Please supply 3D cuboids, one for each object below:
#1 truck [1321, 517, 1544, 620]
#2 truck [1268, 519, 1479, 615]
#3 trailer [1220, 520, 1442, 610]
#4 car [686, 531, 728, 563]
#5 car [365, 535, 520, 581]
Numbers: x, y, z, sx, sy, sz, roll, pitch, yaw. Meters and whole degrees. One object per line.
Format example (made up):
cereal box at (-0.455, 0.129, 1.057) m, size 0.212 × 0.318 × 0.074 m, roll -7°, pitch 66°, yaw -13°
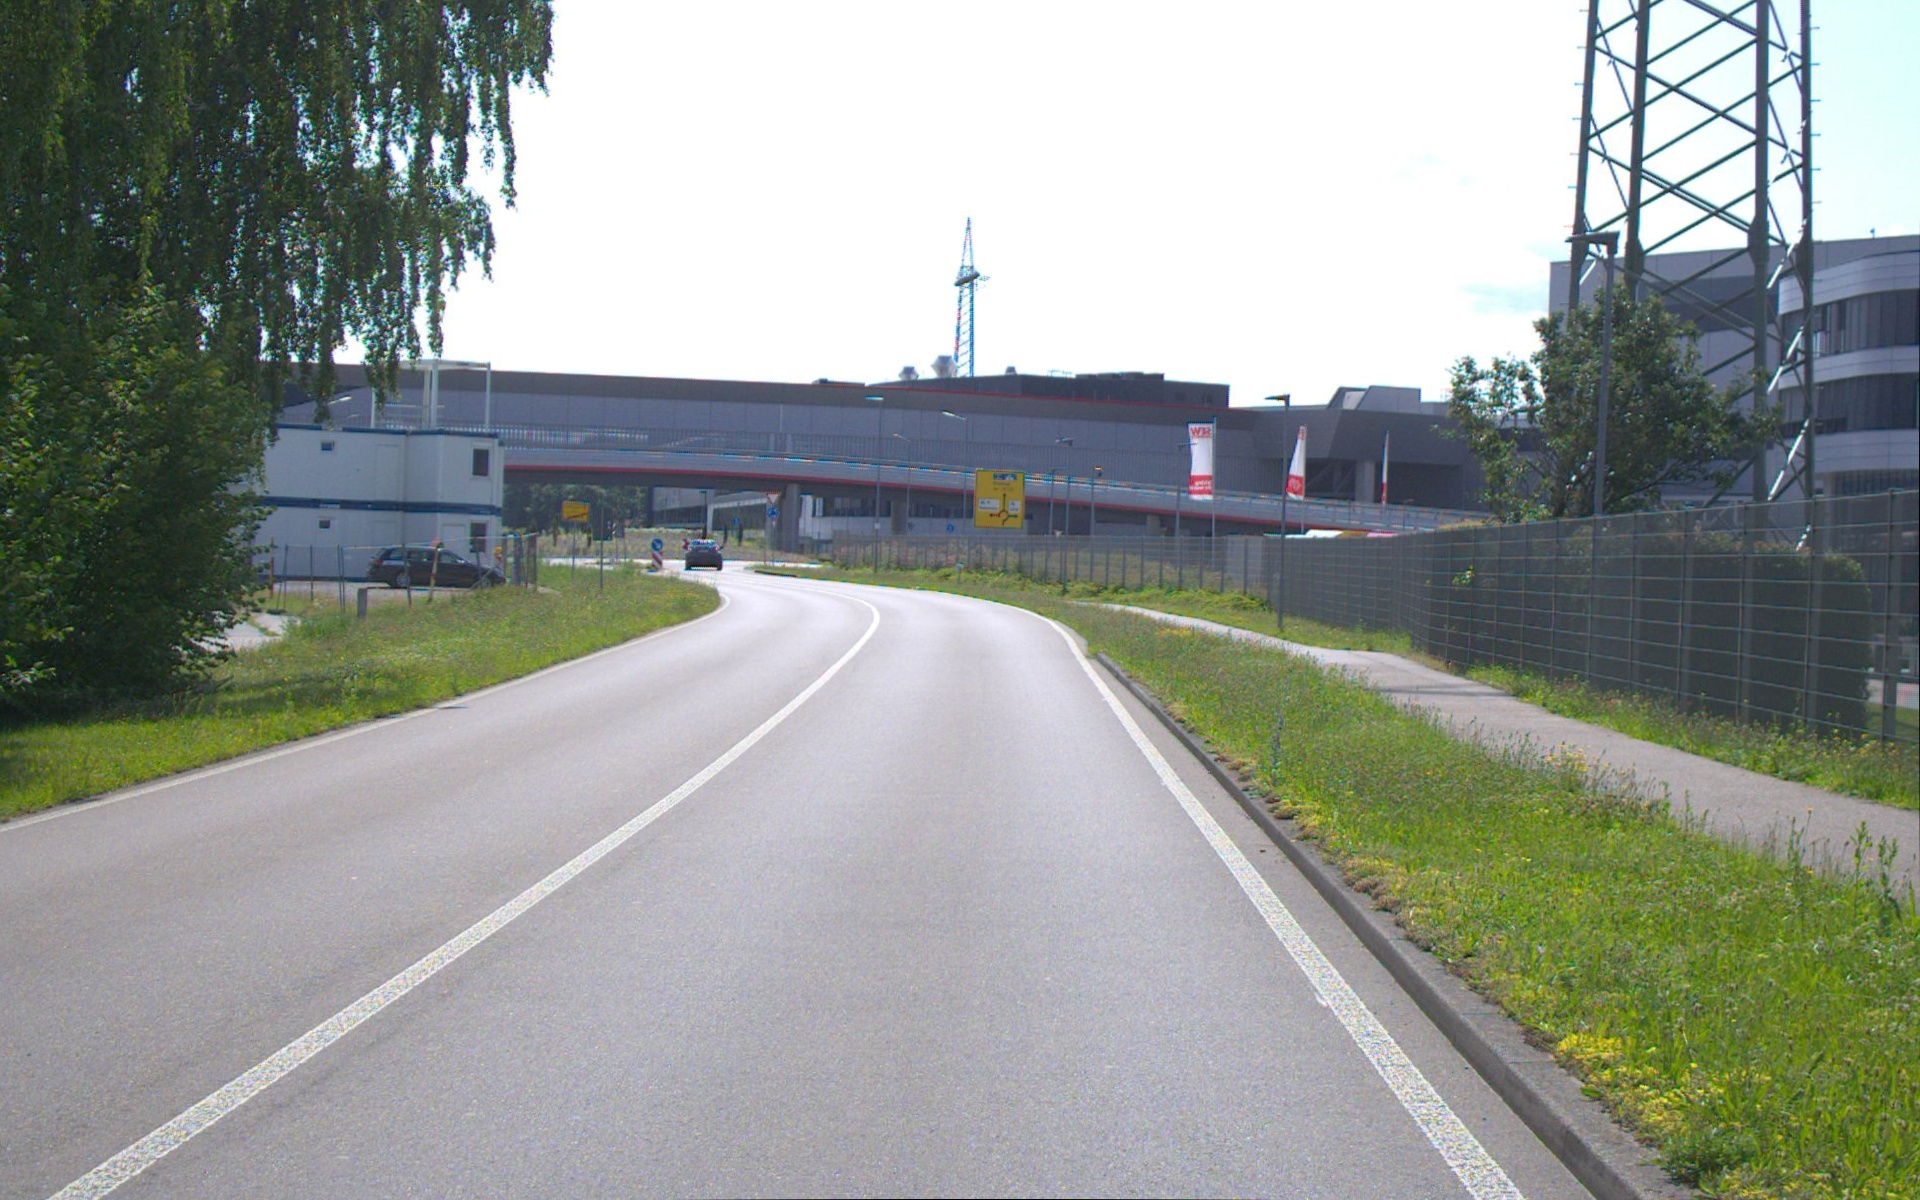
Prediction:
truck at (20.106, -1.291, 145.694) m, size 10.943 × 4.242 × 3.027 m, roll 0°, pitch 1°, yaw -42°
truck at (18.679, -1.443, 154.743) m, size 10.943 × 4.158 × 2.821 m, roll 0°, pitch 1°, yaw -42°
trailer at (19.264, -1.757, 177.337) m, size 14.024 × 4.423 × 2.765 m, roll 0°, pitch 1°, yaw -43°
car at (-12.540, -2.599, 170.683) m, size 1.993 × 1.539 × 4.001 m, roll 1°, pitch 1°, yaw -3°
car at (-17.871, -1.461, 118.695) m, size 4.967 × 1.412 × 2.001 m, roll 2°, pitch 1°, yaw -19°
